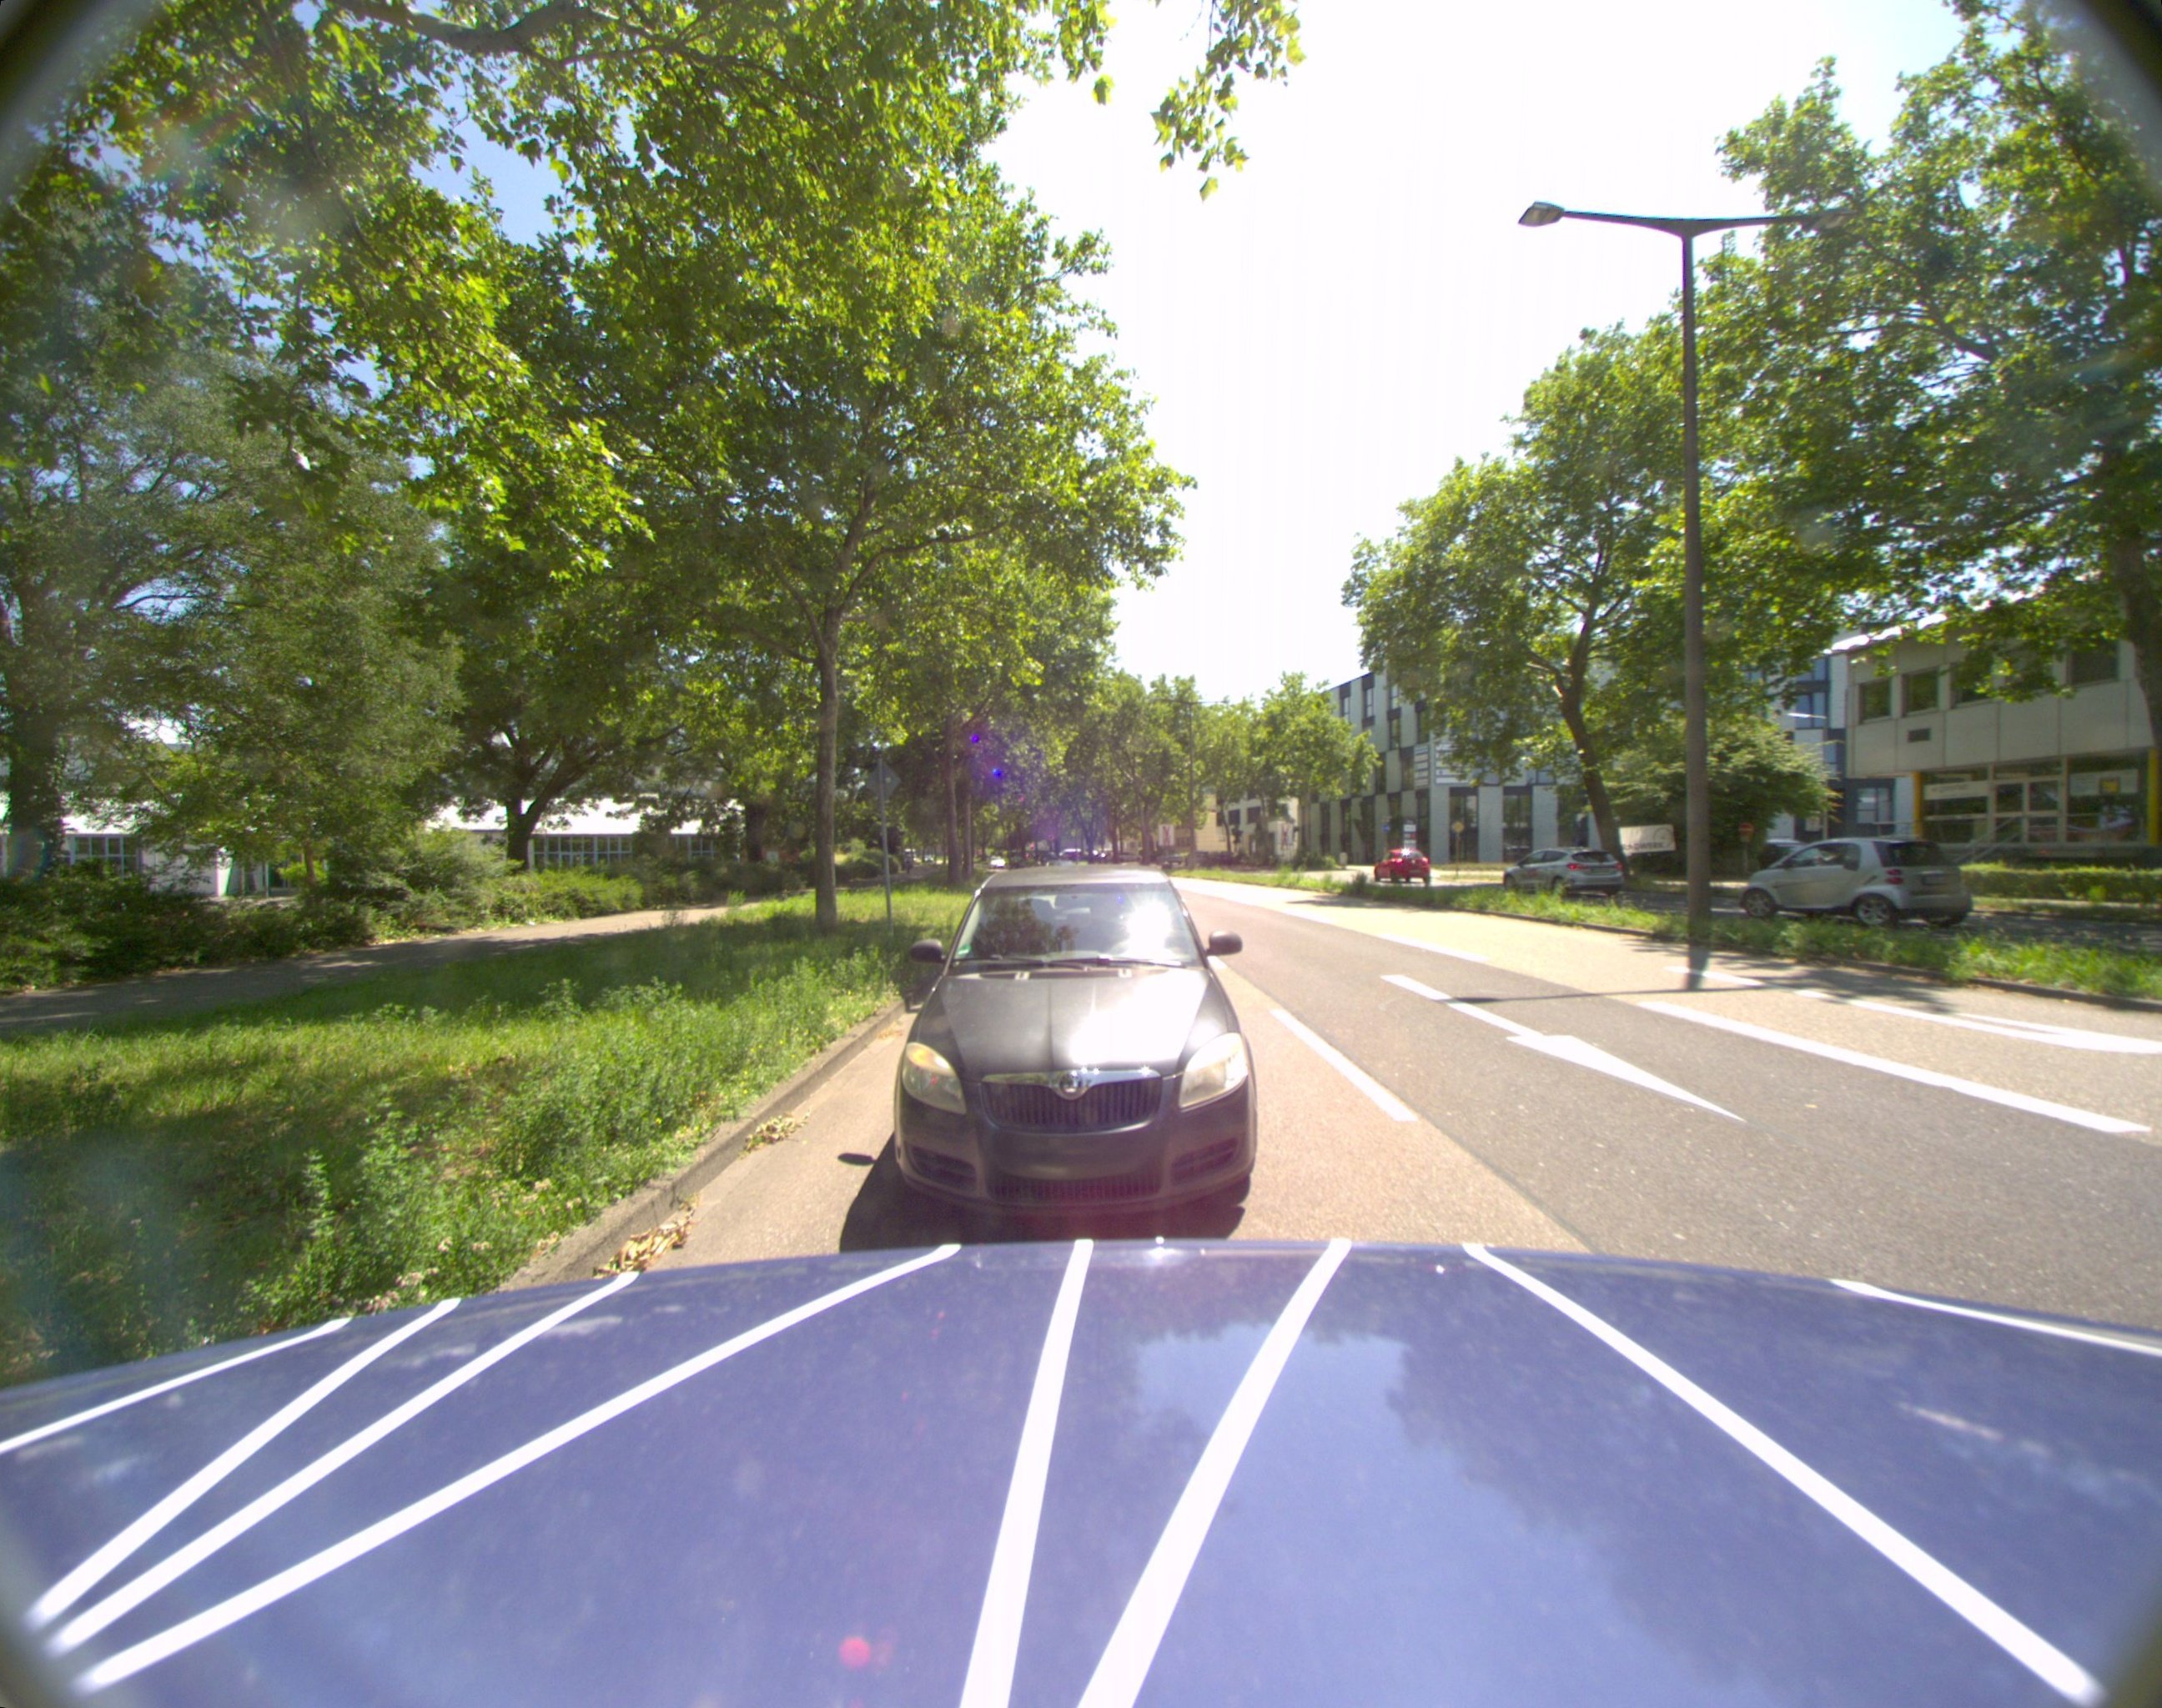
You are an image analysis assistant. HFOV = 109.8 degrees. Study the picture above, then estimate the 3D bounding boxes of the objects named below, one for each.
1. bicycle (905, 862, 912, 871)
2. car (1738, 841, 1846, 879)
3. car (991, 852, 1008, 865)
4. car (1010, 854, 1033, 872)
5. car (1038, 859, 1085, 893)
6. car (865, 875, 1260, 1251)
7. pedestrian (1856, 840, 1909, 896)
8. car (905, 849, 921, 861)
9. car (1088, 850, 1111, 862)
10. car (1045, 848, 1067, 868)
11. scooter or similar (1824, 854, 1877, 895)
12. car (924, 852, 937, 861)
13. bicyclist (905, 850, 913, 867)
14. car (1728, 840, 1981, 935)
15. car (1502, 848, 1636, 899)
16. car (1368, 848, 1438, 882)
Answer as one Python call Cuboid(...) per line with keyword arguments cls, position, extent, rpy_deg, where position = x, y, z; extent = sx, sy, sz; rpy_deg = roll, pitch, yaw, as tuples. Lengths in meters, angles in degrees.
Cuboid(cls="bicycle", position=(-14.335, 1.035, 63.268), extent=(0.465, 0.760, 1.667), rpy_deg=(-1, 0, -10))
Cuboid(cls="car", position=(32.824, 0.247, 35.201), extent=(1.819, 1.638, 3.528), rpy_deg=(-2, 1, 4))
Cuboid(cls="car", position=(-9.489, 0.520, 88.293), extent=(1.624, 1.437, 3.647), rpy_deg=(-1, 0, -13))
Cuboid(cls="car", position=(-5.229, 0.750, 66.344), extent=(1.879, 1.448, 3.784), rpy_deg=(-2, 0, -5))
Cuboid(cls="car", position=(-0.925, 0.939, 34.045), extent=(1.792, 1.325, 3.741), rpy_deg=(-2, 0, -5))
Cuboid(cls="car", position=(-0.051, 0.952, 5.173), extent=(1.654, 1.453, 3.865), rpy_deg=(-1, 0, 1))
Cuboid(cls="pedestrian", position=(22.424, 0.386, 21.280), extent=(0.643, 1.551, 0.791), rpy_deg=(-1, 1, -1))
Cuboid(cls="car", position=(-36.829, 0.220, 166.641), extent=(2.922, 2.639, 6.356), rpy_deg=(-1, 1, -17))
Cuboid(cls="car", position=(2.369, 0.233, 99.692), extent=(1.956, 1.600, 3.995), rpy_deg=(-1, 0, -14))
Cuboid(cls="car", position=(-2.332, 0.371, 71.367), extent=(1.859, 1.745, 4.648), rpy_deg=(-1, 0, 0))
Cuboid(cls="scooter or similar", position=(22.398, 0.575, 22.123), extent=(0.680, 1.157, 0.859), rpy_deg=(-1, 1, -1))
Cuboid(cls="car", position=(-29.043, 0.447, 146.712), extent=(2.002, 1.783, 3.993), rpy_deg=(-1, 0, -18))
Cuboid(cls="bicyclist", position=(-14.318, 0.375, 63.260), extent=(0.601, 1.331, 0.665), rpy_deg=(-1, 1, -10))
Cuboid(cls="car", position=(13.829, 0.534, 13.795), extent=(1.537, 1.519, 2.852), rpy_deg=(-1, 0, -9))
Cuboid(cls="car", position=(14.855, 0.550, 23.360), extent=(1.756, 1.435, 3.672), rpy_deg=(-1, 0, 0))
Cuboid(cls="car", position=(14.608, 0.485, 34.654), extent=(1.676, 1.453, 3.530), rpy_deg=(-1, 0, 0))
